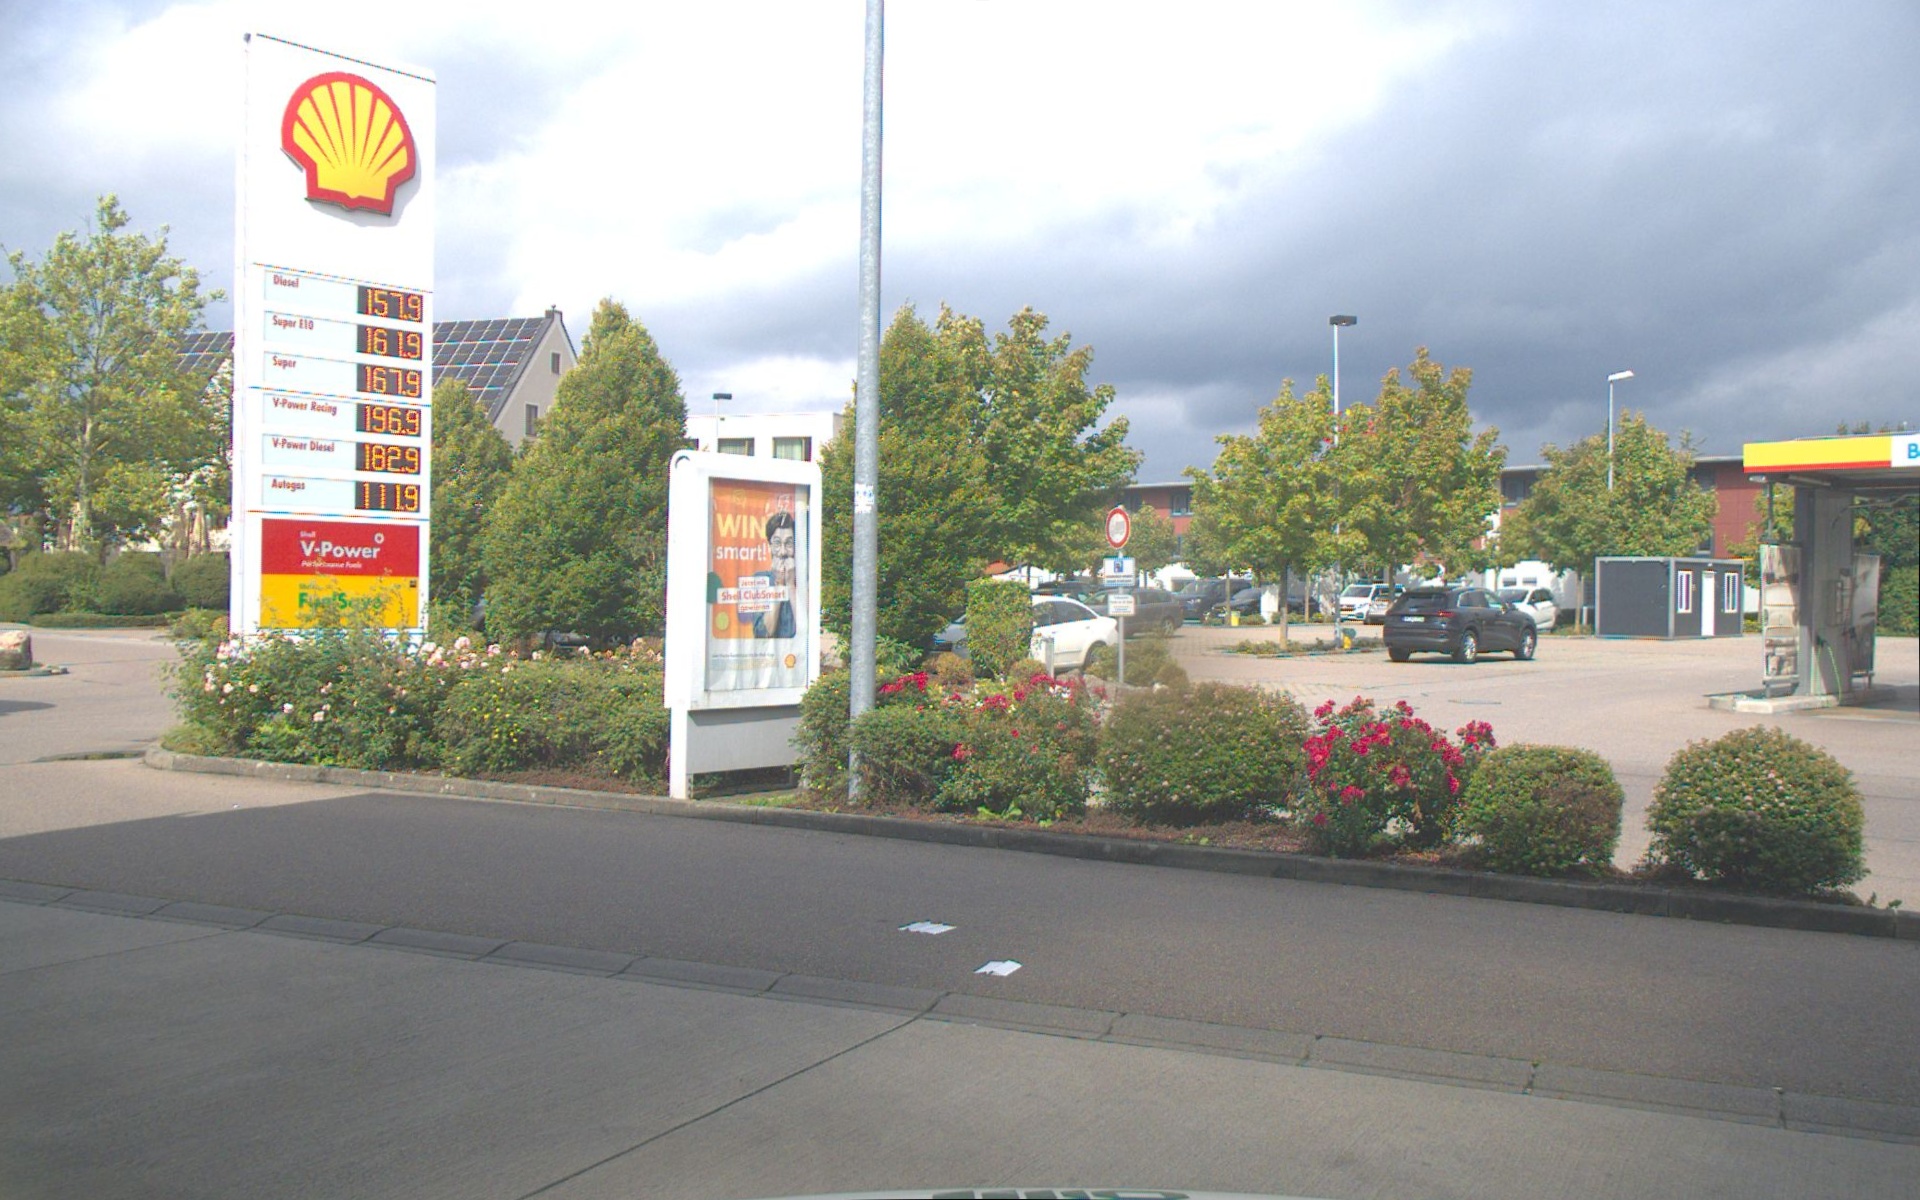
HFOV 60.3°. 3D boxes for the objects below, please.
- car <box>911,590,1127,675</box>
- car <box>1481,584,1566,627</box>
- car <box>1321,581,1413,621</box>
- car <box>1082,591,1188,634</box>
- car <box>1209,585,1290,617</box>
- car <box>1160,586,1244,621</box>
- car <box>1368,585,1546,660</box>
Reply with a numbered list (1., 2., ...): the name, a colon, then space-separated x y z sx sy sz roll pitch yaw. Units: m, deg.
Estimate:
1. car: 1.141 0.583 29.954 1.348 1.428 4.312 1 -1 45
2. car: 18.018 0.182 52.822 3.080 1.330 1.346 1 -1 -45
3. car: 19.928 0.052 80.961 4.839 1.865 2.150 1 0 -44
4. car: 5.288 0.377 49.809 3.203 1.249 1.481 1 0 -45
5. car: 11.424 0.054 65.226 3.393 1.199 1.462 1 0 -45
6. car: 9.823 0.158 66.948 3.364 1.343 1.719 1 0 -45
7. car: 11.139 0.495 36.909 4.467 1.575 1.856 1 0 -44
